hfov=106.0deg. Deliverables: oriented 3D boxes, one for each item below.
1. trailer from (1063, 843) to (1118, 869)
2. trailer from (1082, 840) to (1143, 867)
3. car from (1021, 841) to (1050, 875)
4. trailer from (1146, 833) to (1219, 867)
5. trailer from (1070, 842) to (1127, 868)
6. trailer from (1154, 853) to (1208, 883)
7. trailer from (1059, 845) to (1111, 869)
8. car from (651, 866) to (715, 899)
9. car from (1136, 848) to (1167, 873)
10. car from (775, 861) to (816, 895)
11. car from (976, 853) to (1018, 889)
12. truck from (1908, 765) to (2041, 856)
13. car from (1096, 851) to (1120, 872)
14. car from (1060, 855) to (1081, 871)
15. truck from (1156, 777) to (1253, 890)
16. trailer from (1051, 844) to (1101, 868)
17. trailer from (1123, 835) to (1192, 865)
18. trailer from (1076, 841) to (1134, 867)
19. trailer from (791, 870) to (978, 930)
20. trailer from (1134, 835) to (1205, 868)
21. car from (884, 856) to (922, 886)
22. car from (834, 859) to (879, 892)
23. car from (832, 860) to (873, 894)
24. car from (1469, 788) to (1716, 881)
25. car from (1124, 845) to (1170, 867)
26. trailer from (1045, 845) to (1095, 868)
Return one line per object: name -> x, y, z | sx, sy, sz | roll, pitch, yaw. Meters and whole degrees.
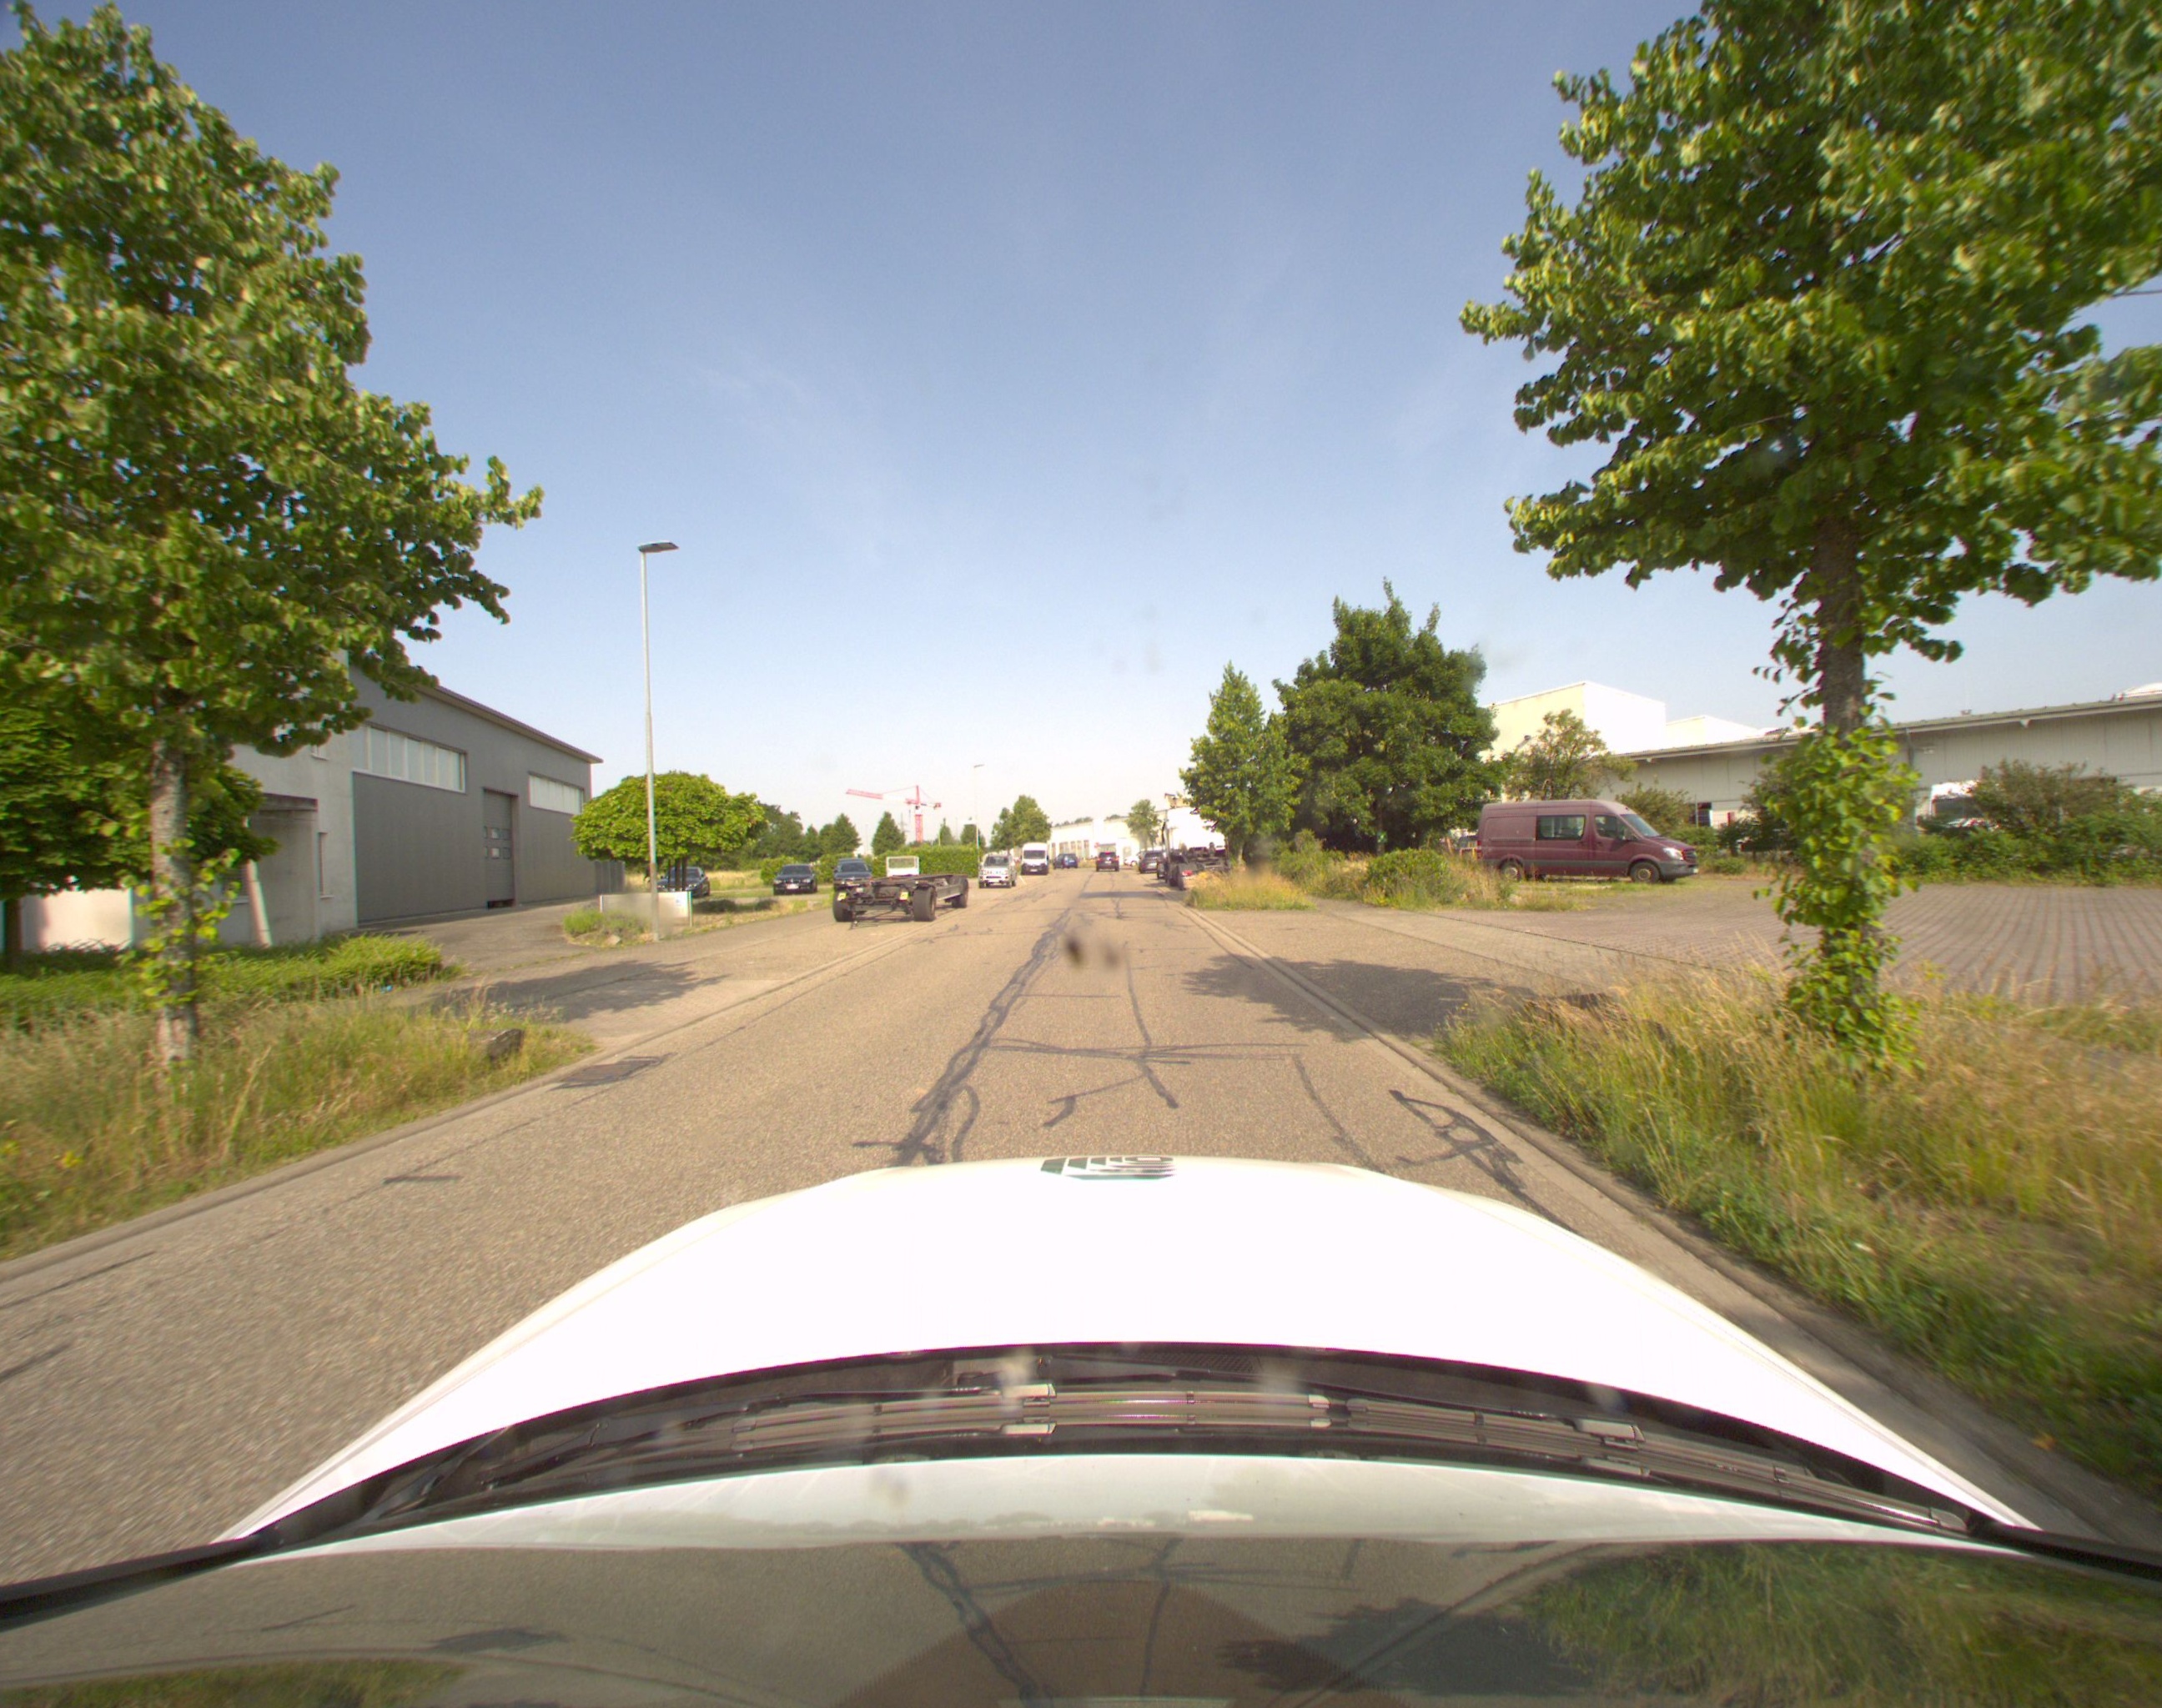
trailer -> 1.485, 0.338, 128.977 | 8.341, 3.894, 2.755 | 0, -1, -22
trailer -> 4.678, -0.081, 120.401 | 8.570, 3.894, 2.755 | 0, -1, -23
car -> -3.647, 0.351, 65.893 | 2.096, 2.595, 6.500 | 0, 0, -1
trailer -> 12.666, -0.518, 101.239 | 8.565, 3.894, 2.756 | -2, -3, -20
trailer -> 2.731, 0.195, 126.274 | 8.341, 3.894, 2.755 | 0, -1, -22
trailer -> 4.863, 0.628, 40.642 | 1.931, 1.235, 7.454 | -4, 0, 2
trailer -> 0.592, 0.483, 132.928 | 8.065, 3.894, 2.755 | 0, -1, -22
car -> -18.145, 1.260, 37.298 | 1.995, 1.324, 4.324 | -2, 0, -18
car -> 4.902, 0.489, 56.897 | 1.874, 1.574, 4.115 | -3, -1, 2
car -> -13.477, 1.108, 38.585 | 1.683, 1.476, 4.324 | -1, 0, -18
car -> -4.206, 0.830, 41.266 | 1.591, 1.651, 3.645 | -2, 0, 2
truck -> 33.190, -1.440, 30.116 | 8.804, 2.841, 2.758 | -1, -2, -39
car -> 2.295, 0.637, 68.441 | 1.873, 1.586, 4.115 | -2, -1, 2
car -> -1.088, 0.910, 85.481 | 1.962, 1.574, 4.113 | -2, -1, 1
truck -> 4.825, -0.757, 32.999 | 2.683, 3.964, 6.046 | -4, 0, 0
trailer -> -0.828, 0.390, 135.547 | 7.995, 3.894, 2.755 | 0, -1, -22
trailer -> 10.097, -0.497, 107.797 | 8.767, 3.761, 2.770 | -1, -1, -22
trailer -> 3.642, 0.009, 123.428 | 8.570, 3.894, 2.755 | 0, -1, -23
trailer -> -4.880, 1.092, 22.562 | 2.536, 1.074, 9.735 | -1, 0, 2
trailer -> 11.393, -0.363, 104.869 | 8.567, 3.893, 2.756 | -2, -1, -21
car -> -9.833, 0.923, 44.816 | 1.836, 1.572, 3.797 | 0, -1, -15
car -> -10.892, 1.007, 39.478 | 1.980, 1.476, 4.398 | -2, 0, -16
car -> -12.417, 1.210, 44.354 | 1.993, 1.658, 4.398 | -2, 0, -16
car -> 15.638, -0.492, 25.253 | 2.588, 2.525, 5.977 | 1, -1, -39
car -> 6.830, 0.203, 85.002 | 4.595, 2.110, 2.127 | -2, -1, -1
trailer -> -1.826, 0.475, 138.375 | 7.995, 3.894, 2.755 | 0, -1, -22
